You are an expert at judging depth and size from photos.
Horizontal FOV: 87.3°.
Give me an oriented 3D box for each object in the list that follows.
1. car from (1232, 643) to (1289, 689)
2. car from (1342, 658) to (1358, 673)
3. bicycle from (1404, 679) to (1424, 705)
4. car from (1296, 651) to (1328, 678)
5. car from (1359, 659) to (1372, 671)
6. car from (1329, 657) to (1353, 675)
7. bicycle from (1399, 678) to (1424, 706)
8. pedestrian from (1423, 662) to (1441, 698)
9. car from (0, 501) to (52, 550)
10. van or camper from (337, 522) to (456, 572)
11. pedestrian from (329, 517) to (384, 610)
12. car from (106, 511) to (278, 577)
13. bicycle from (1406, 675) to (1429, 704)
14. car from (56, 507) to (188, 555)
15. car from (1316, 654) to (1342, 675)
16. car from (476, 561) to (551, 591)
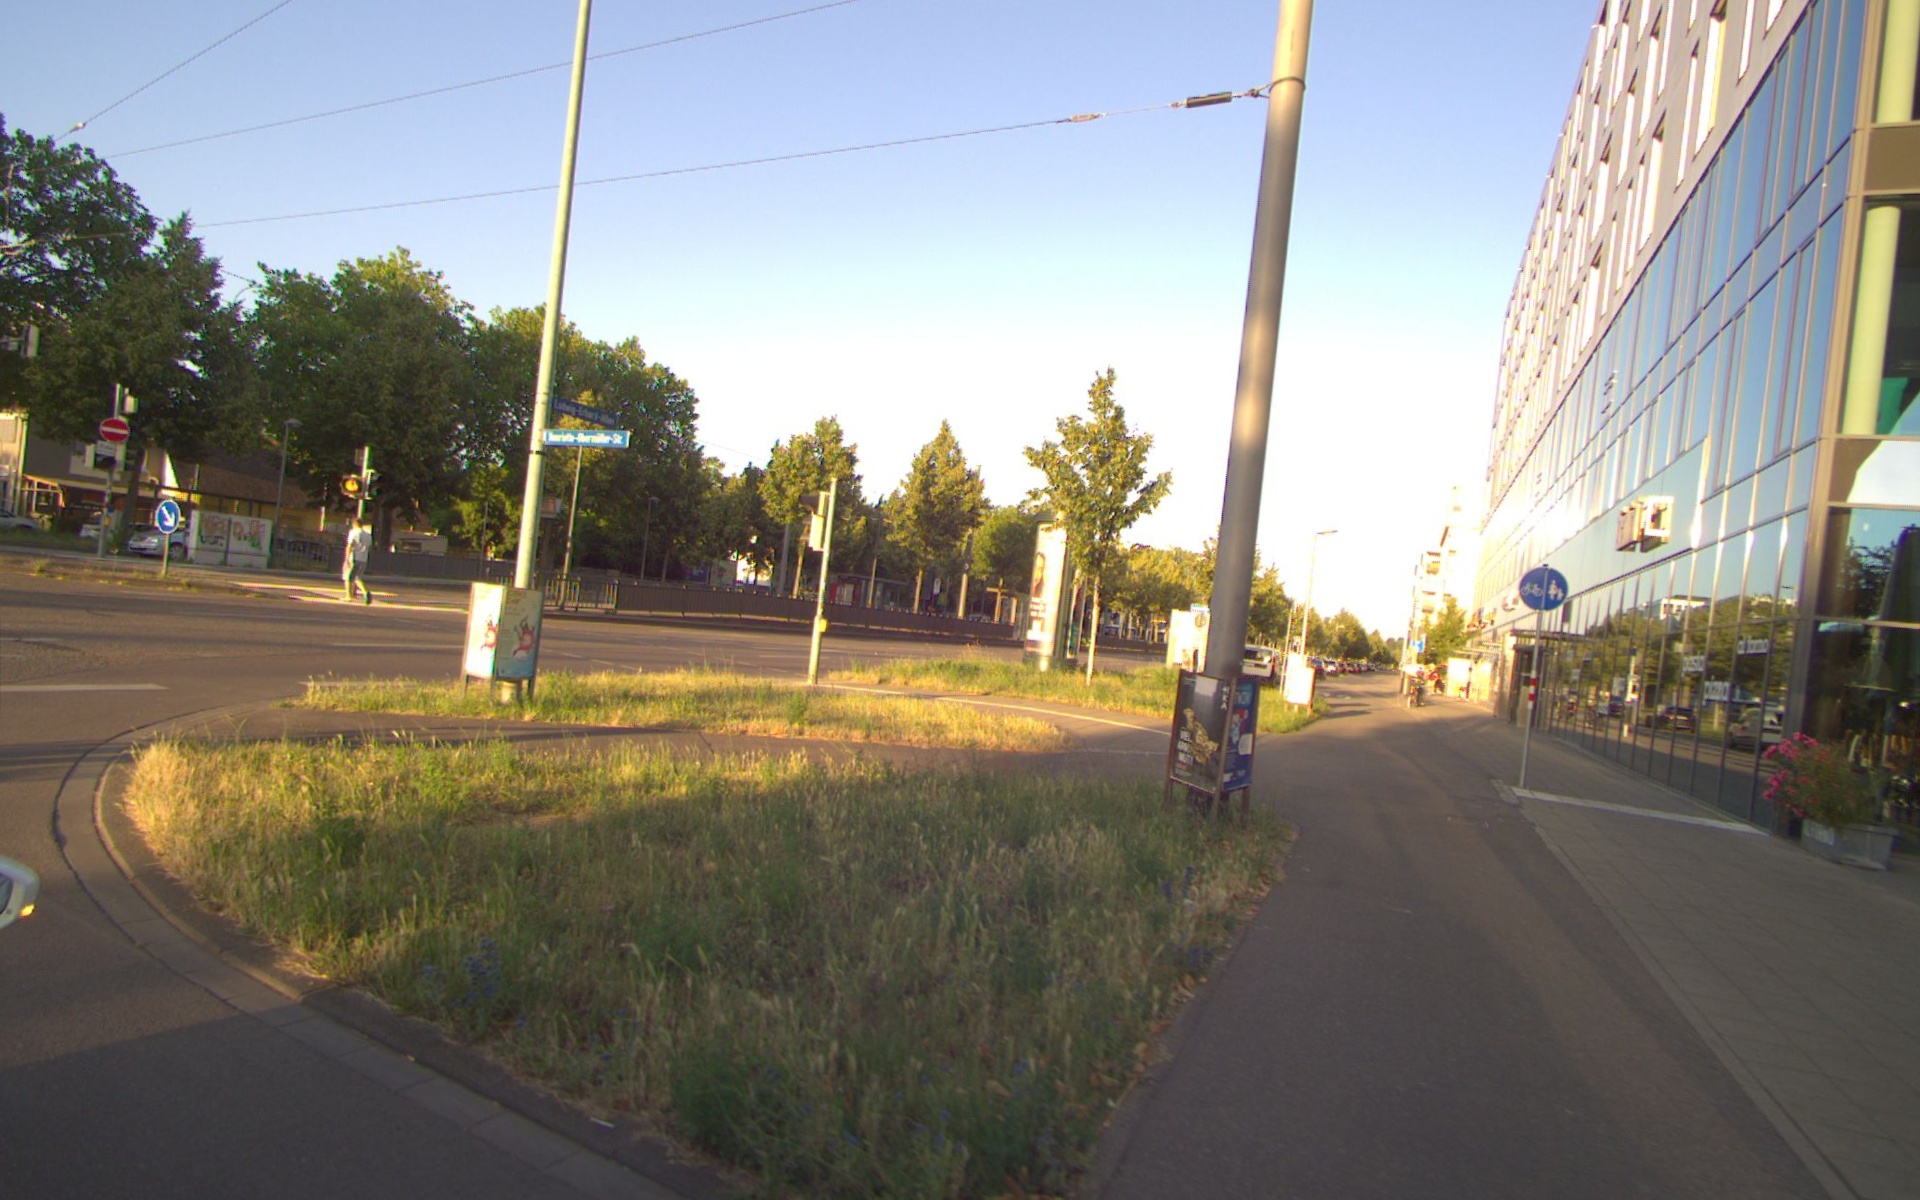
[{"bbox_3d":[14.572,3.176,48.647,1.824,1.850,4.392,9,0,25],"label":"car"},{"bbox_3d":[54.797,9.216,141.233,1.866,1.793,3.945,7,-1,23],"label":"car"},{"bbox_3d":[21.057,4.260,46.719,0.624,1.080,2.123,6,-1,21],"label":"bicycle"},{"bbox_3d":[27.145,4.989,77.575,1.963,1.717,4.593,8,0,22],"label":"car"},{"bbox_3d":[74.093,11.866,183.683,1.964,2.038,3.999,7,0,23],"label":"car"},{"bbox_3d":[45.317,7.846,119.542,2.000,1.717,4.393,9,0,27],"label":"car"},{"bbox_3d":[19.743,4.019,43.970,0.626,1.081,2.117,7,0,33],"label":"bicycle"},{"bbox_3d":[29.215,4.966,62.227,0.800,2.115,1.112,6,0,26],"label":"pedestrian"},{"bbox_3d":[-41.607,-3.353,42.545,1.965,1.869,4.239,6,-1,28],"label":"car"},{"bbox_3d":[-37.641,-3.488,67.450,2.226,2.439,6.575,5,-2,30],"label":"van or camper"},{"bbox_3d":[-12.592,-0.764,20.985,0.757,1.812,0.795,7,-1,-34],"label":"pedestrian"},{"bbox_3d":[-27.629,-1.977,36.394,1.827,1.748,4.549,6,-1,21],"label":"car"},{"bbox_3d":[18.750,3.668,41.192,0.534,1.081,2.001,7,0,30],"label":"bicycle"},{"bbox_3d":[-38.965,-3.171,46.895,1.965,1.596,4.239,6,-1,28],"label":"car"},{"bbox_3d":[36.154,6.313,98.553,1.964,1.717,4.413,8,0,23],"label":"car"},{"bbox_3d":[-29.909,-1.572,67.513,1.965,1.482,4.239,6,-1,28],"label":"car"}]
